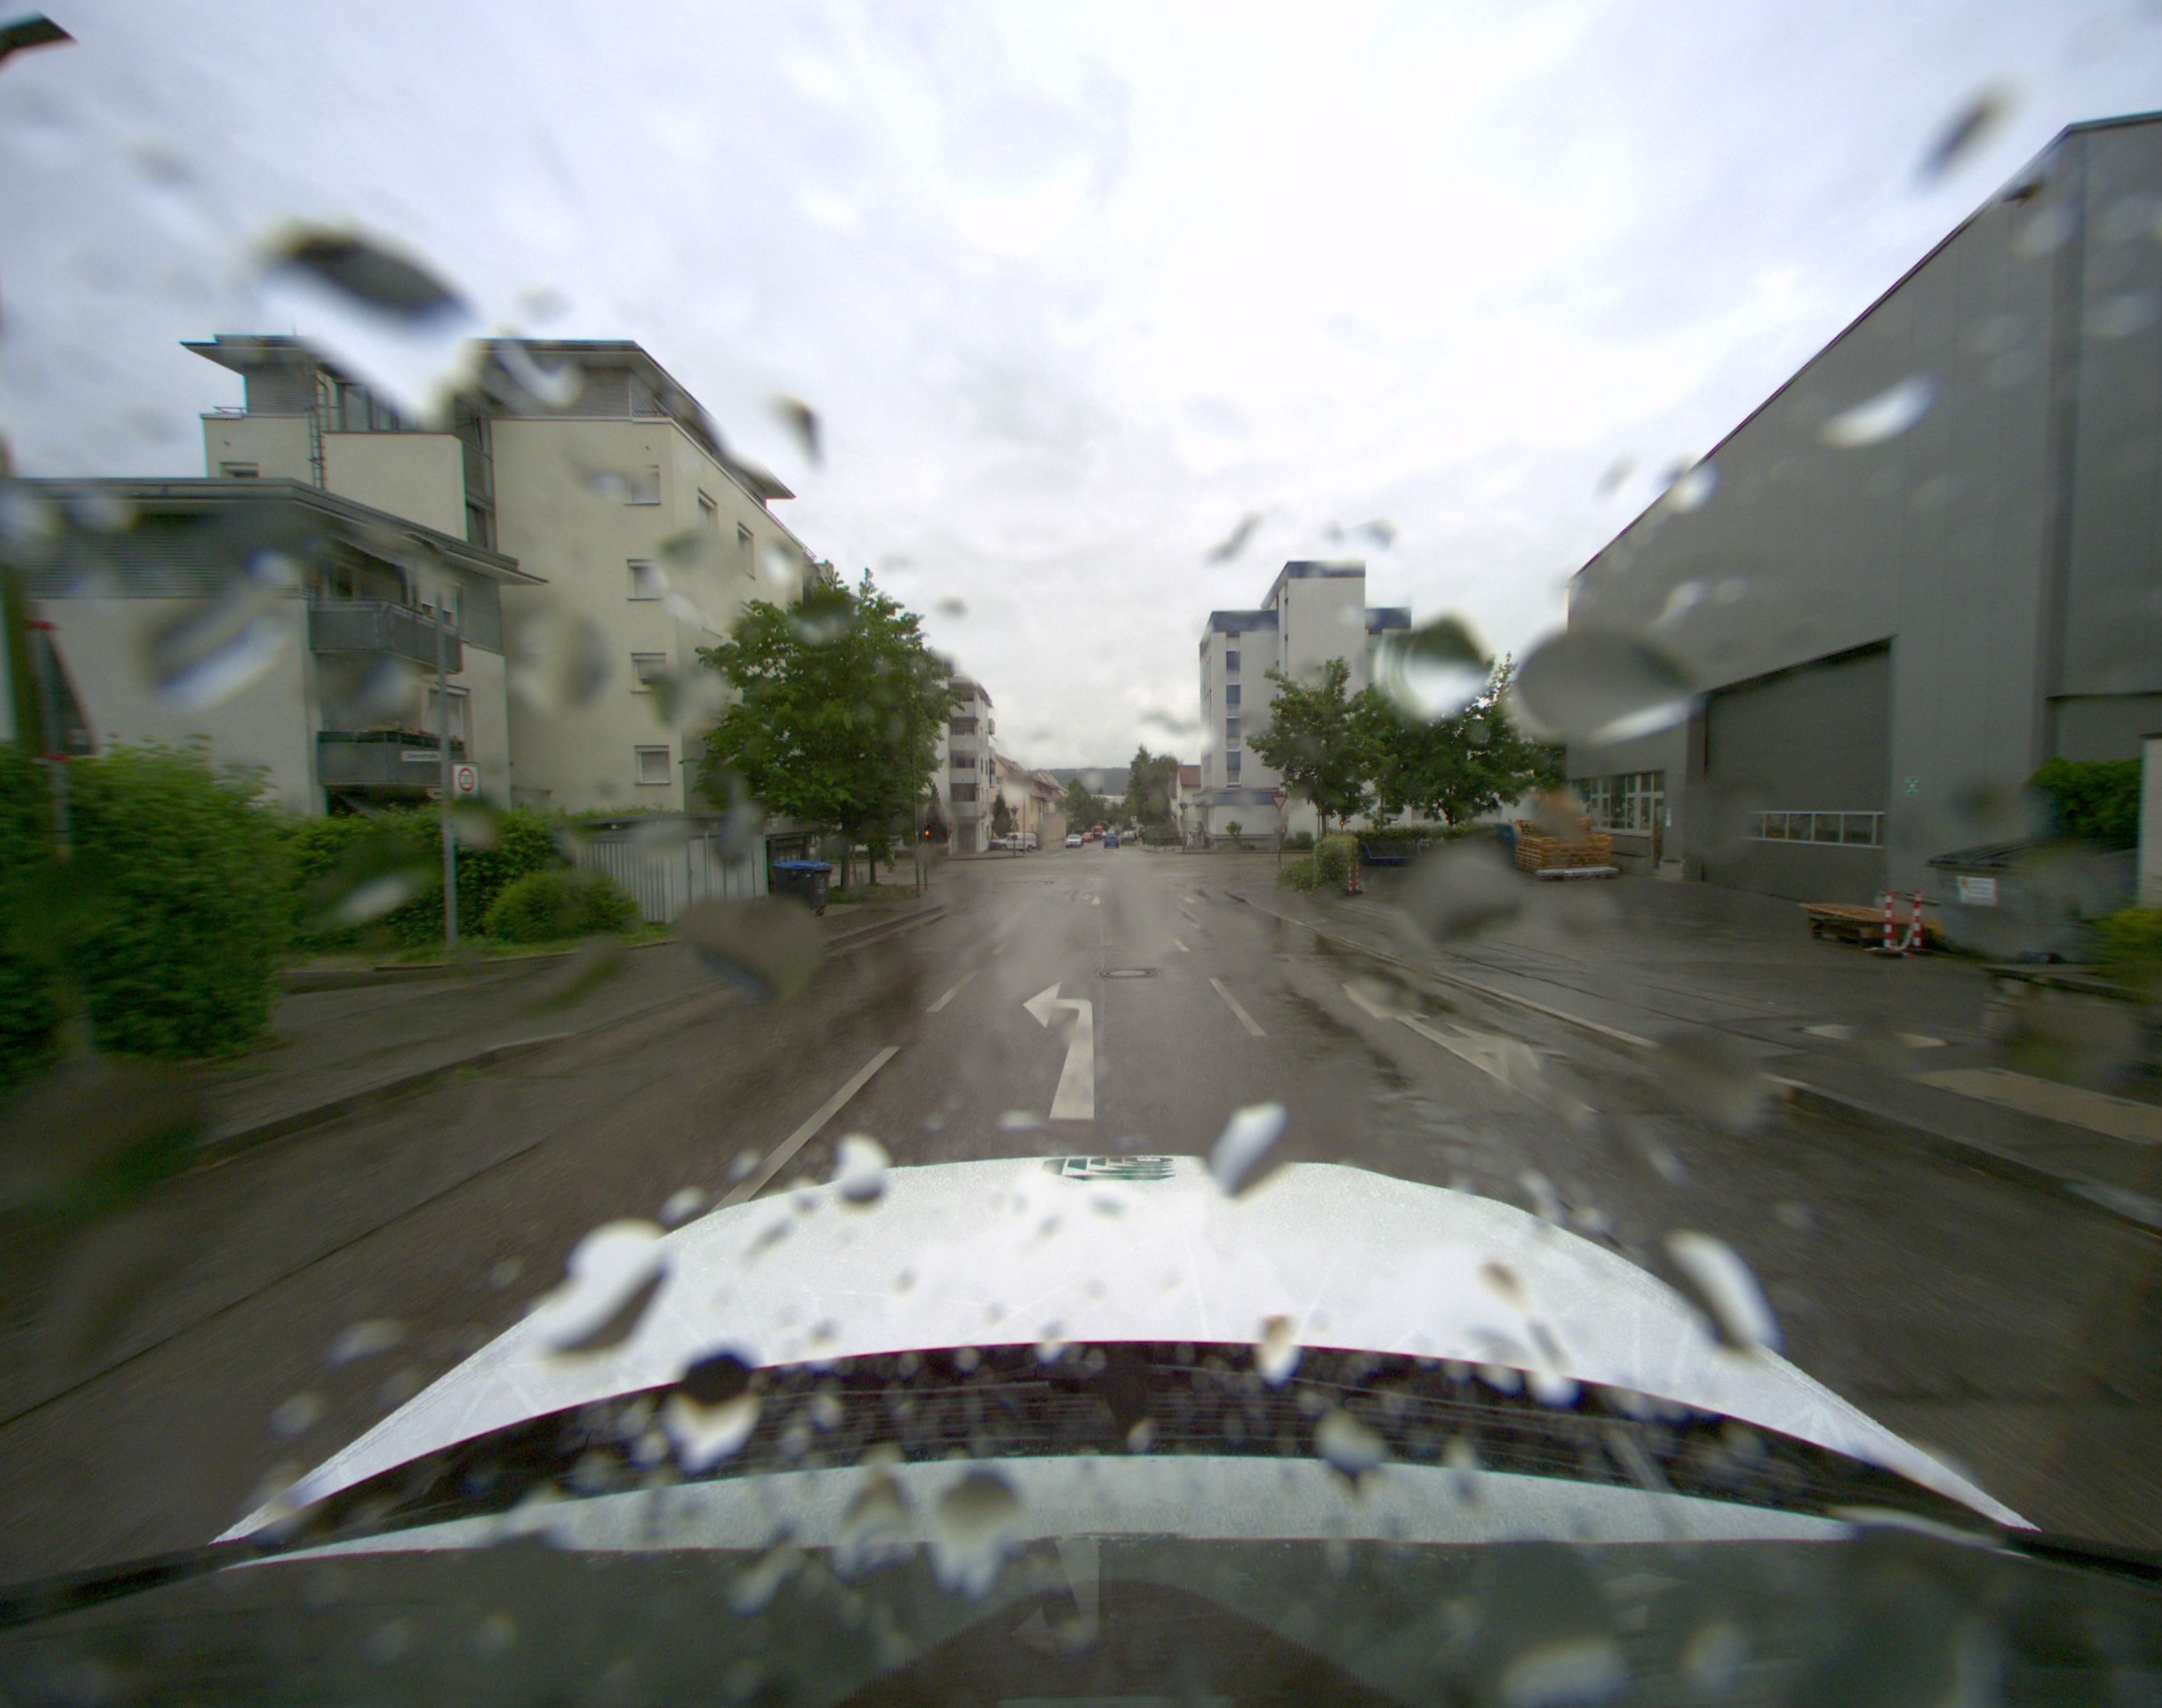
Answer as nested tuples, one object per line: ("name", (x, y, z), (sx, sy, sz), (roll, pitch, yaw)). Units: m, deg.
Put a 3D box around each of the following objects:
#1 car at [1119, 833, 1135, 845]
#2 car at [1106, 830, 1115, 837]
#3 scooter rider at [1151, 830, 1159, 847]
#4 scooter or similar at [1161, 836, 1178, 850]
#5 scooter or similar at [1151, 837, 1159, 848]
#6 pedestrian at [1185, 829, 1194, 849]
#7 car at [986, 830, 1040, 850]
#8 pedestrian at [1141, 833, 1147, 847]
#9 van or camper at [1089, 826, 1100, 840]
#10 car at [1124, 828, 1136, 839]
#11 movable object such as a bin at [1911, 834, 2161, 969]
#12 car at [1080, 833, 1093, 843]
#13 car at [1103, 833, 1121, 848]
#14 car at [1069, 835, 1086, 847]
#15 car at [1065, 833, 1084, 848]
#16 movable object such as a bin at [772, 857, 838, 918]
("car", (6.388, -2.101, 113.022), (2.137, 1.589, 4.131), (-2, 1, 3))
("car", (6.737, -4.657, 185.959), (1.894, 1.558, 4.195), (-2, 1, 3))
("scooter rider", (8.067, -1.684, 88.889), (0.749, 1.795, 0.673), (-2, 1, 1))
("scooter or similar", (7.587, -0.947, 69.819), (1.265, 1.081, 0.876), (-2, 1, -3))
("scooter or similar", (8.084, -1.291, 89.017), (0.753, 1.171, 1.316), (-2, 1, 4))
("pedestrian", (9.454, -1.300, 70.894), (0.646, 1.647, 0.525), (2, 0, -4))
("car", (-6.554, -1.365, 79.220), (4.866, 1.835, 1.978), (-3, 2, -36))
("pedestrian", (8.703, -1.970, 112.620), (0.744, 1.848, 0.525), (2, 0, -5))
("van or camper", (2.686, -4.095, 157.989), (1.894, 2.513, 4.242), (-2, 1, 3))
("car", (8.036, -3.370, 134.922), (1.894, 1.745, 4.195), (-2, 1, 3))
("movable object such as a bin", (11.806, 0.535, 10.188), (1.252, 1.518, 1.787), (-2, 0, 17))
("car", (0.885, -2.708, 135.835), (1.894, 1.558, 4.195), (-2, 1, 3))
("car", (3.671, -1.667, 97.708), (1.987, 1.683, 4.000), (-2, 1, 0))
("car", (-0.419, -1.797, 110.795), (1.985, 1.625, 4.195), (-2, 1, 3))
("car", (-0.780, -1.669, 99.391), (1.985, 1.625, 4.195), (-2, 1, 3))
("movable object such as a bin", (-6.468, 0.763, 19.177), (1.068, 1.347, 1.319), (1, 0, 0))
